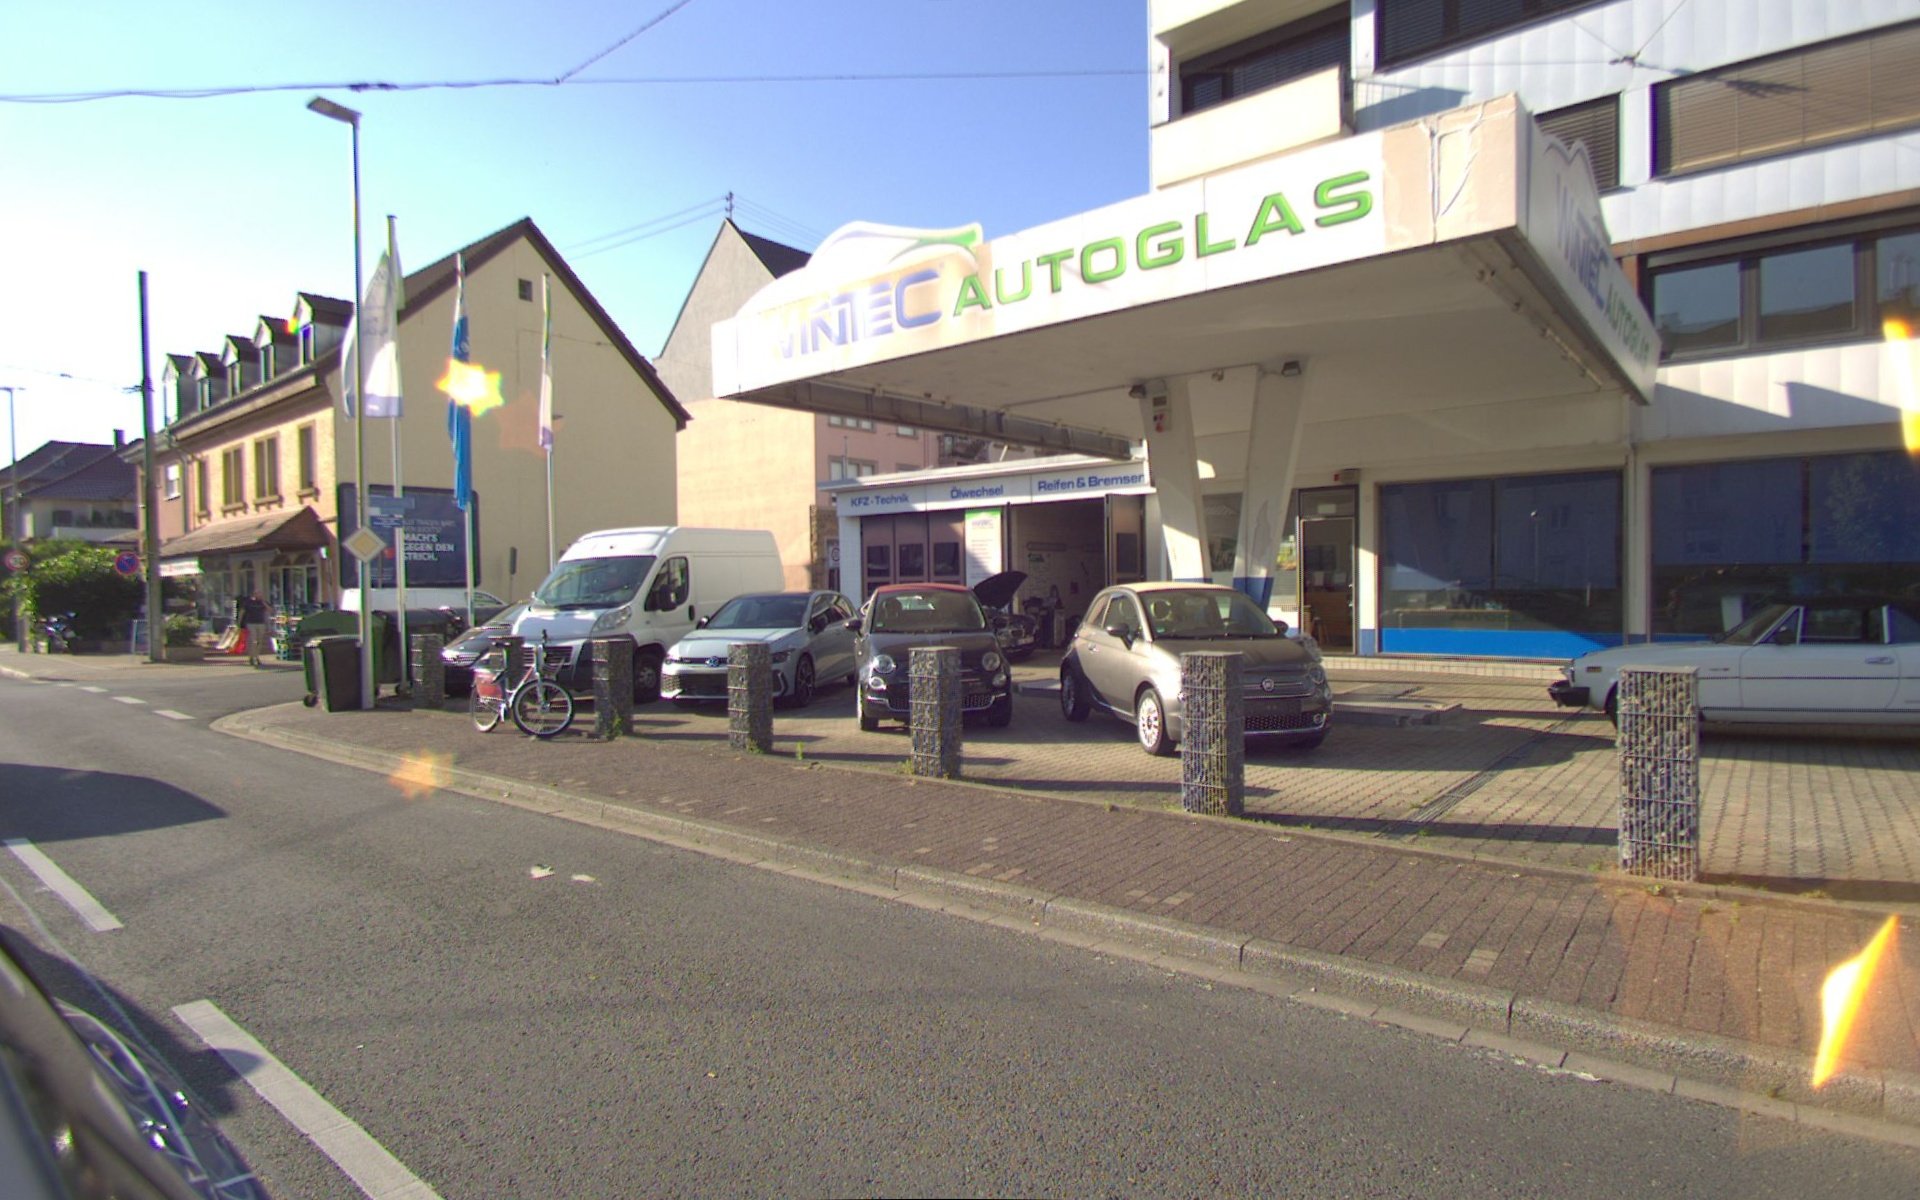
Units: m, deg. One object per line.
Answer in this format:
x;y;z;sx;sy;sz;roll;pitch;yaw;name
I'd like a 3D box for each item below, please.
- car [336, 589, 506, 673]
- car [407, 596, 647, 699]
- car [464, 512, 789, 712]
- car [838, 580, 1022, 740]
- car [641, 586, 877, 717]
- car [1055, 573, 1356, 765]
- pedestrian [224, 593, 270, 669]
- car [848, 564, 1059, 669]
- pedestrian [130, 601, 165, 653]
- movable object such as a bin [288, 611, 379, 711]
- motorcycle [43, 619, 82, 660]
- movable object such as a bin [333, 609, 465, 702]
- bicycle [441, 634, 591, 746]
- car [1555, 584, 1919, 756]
-13.897;0.741;26.253;1.449;2.029;3.628;-1;0;37;car
-7.066;0.706;17.009;1.725;1.488;4.016;-1;0;12;car
-4.691;0.133;15.224;2.098;2.472;4.963;-1;0;18;car
-0.487;0.566;11.509;1.569;1.508;3.443;-1;0;-10;car
-2.535;0.590;13.805;1.725;1.508;4.016;-1;0;12;car
2.150;0.536;9.795;1.517;1.497;3.381;-1;0;-11;car
-17.948;0.769;25.478;0.767;1.866;0.811;-1;0;43;pedestrian
-0.210;0.322;20.921;4.255;1.958;1.720;-1;0;40;car
-27.671;0.903;34.481;0.859;1.726;0.799;-1;0;42;pedestrian
-9.710;0.919;15.714;1.030;1.475;0.798;-1;0;-18;movable object such as a bin
-27.970;1.207;31.530;2.186;1.226;0.699;-1;0;43;motorcycle
-9.580;0.917;17.370;1.039;1.475;1.787;-1;0;15;movable object such as a bin
-4.899;0.943;11.123;1.789;1.094;0.716;-1;1;37;bicycle
7.382;0.544;8.572;3.898;1.308;1.506;-1;-1;37;car
